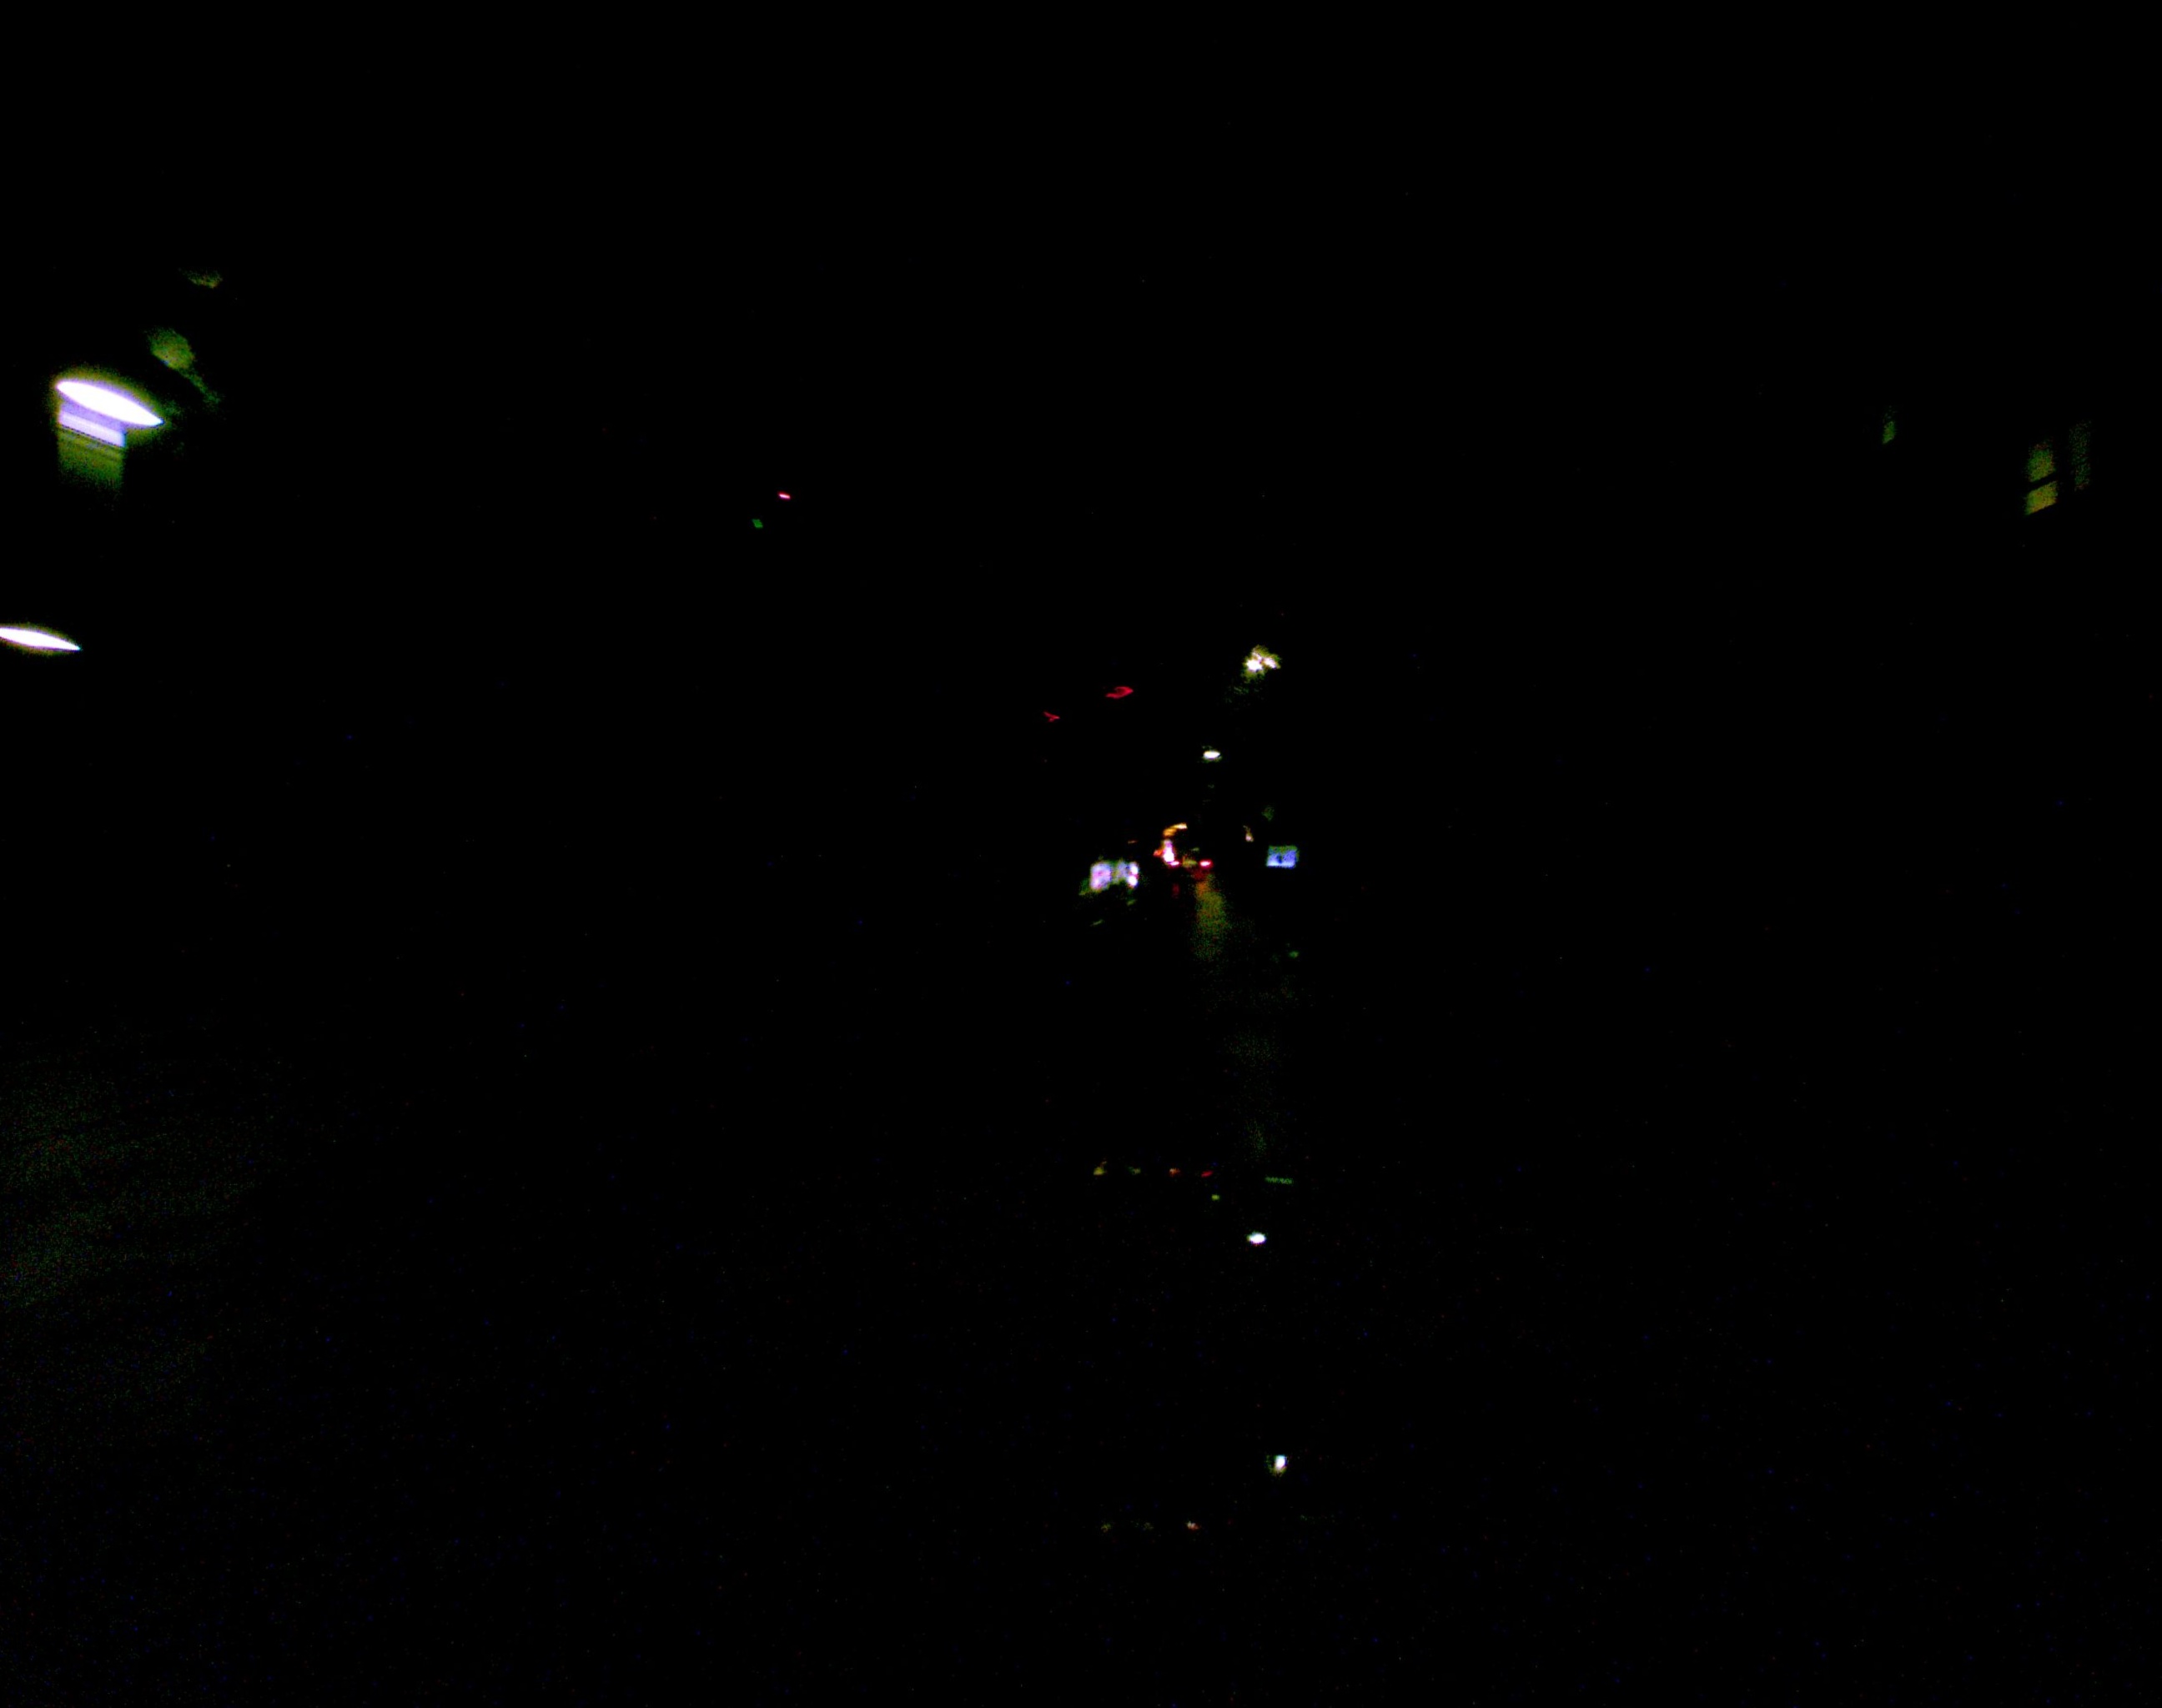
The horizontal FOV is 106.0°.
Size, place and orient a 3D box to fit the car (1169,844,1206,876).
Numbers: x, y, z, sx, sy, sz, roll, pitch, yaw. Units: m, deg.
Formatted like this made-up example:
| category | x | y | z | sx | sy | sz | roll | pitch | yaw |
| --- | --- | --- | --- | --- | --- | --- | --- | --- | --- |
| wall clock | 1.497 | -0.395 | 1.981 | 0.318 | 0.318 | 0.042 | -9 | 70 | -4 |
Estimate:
| category | x | y | z | sx | sy | sz | roll | pitch | yaw |
| --- | --- | --- | --- | --- | --- | --- | --- | --- | --- |
| car | 6.045 | 0.312 | 46.293 | 1.983 | 1.684 | 4.009 | 1 | 0 | 7 |
